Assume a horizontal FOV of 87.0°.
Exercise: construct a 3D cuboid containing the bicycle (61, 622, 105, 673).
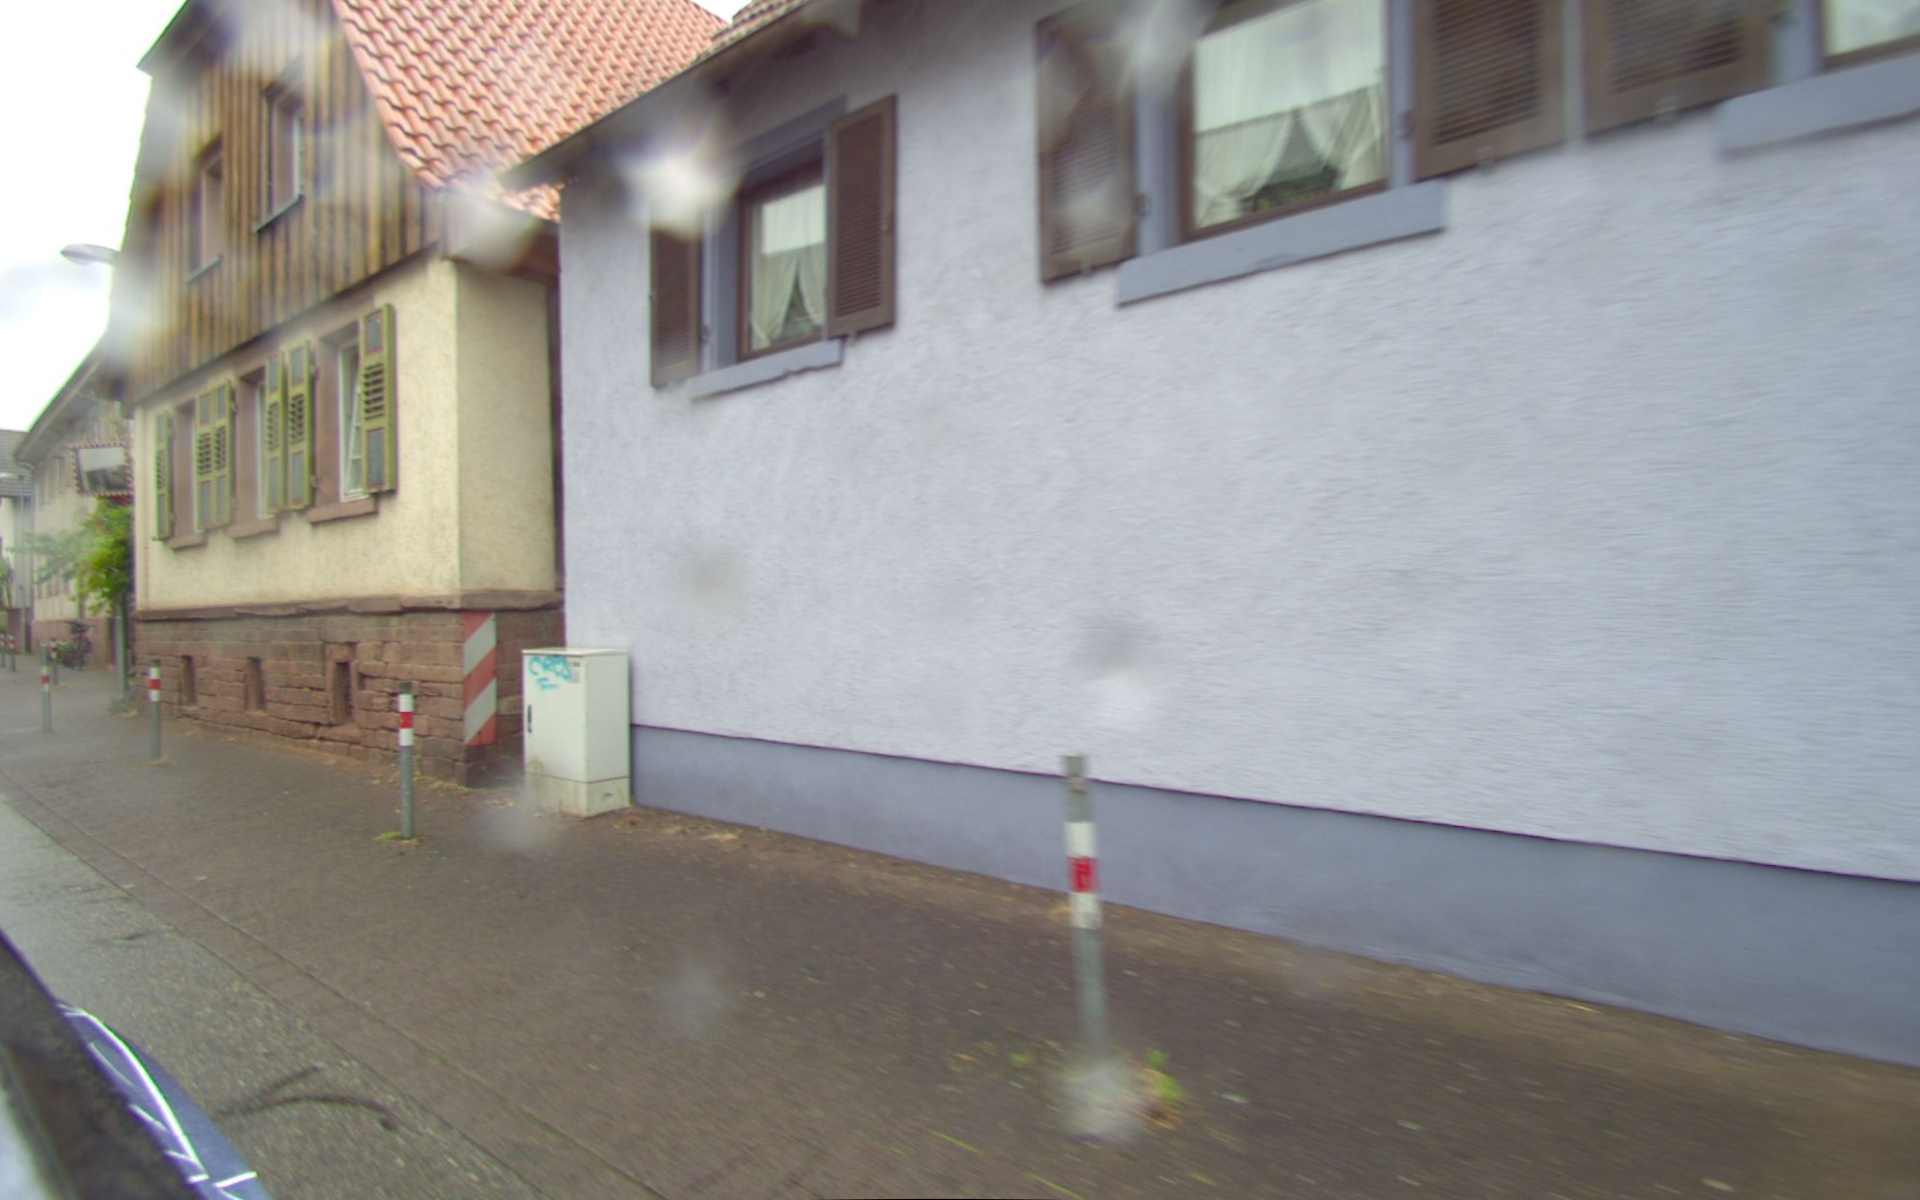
[{"bbox_3d":[-21.524,1.168,24.829,1.872,1.187,0.477,-2,0,40],"label":"bicycle"}]
